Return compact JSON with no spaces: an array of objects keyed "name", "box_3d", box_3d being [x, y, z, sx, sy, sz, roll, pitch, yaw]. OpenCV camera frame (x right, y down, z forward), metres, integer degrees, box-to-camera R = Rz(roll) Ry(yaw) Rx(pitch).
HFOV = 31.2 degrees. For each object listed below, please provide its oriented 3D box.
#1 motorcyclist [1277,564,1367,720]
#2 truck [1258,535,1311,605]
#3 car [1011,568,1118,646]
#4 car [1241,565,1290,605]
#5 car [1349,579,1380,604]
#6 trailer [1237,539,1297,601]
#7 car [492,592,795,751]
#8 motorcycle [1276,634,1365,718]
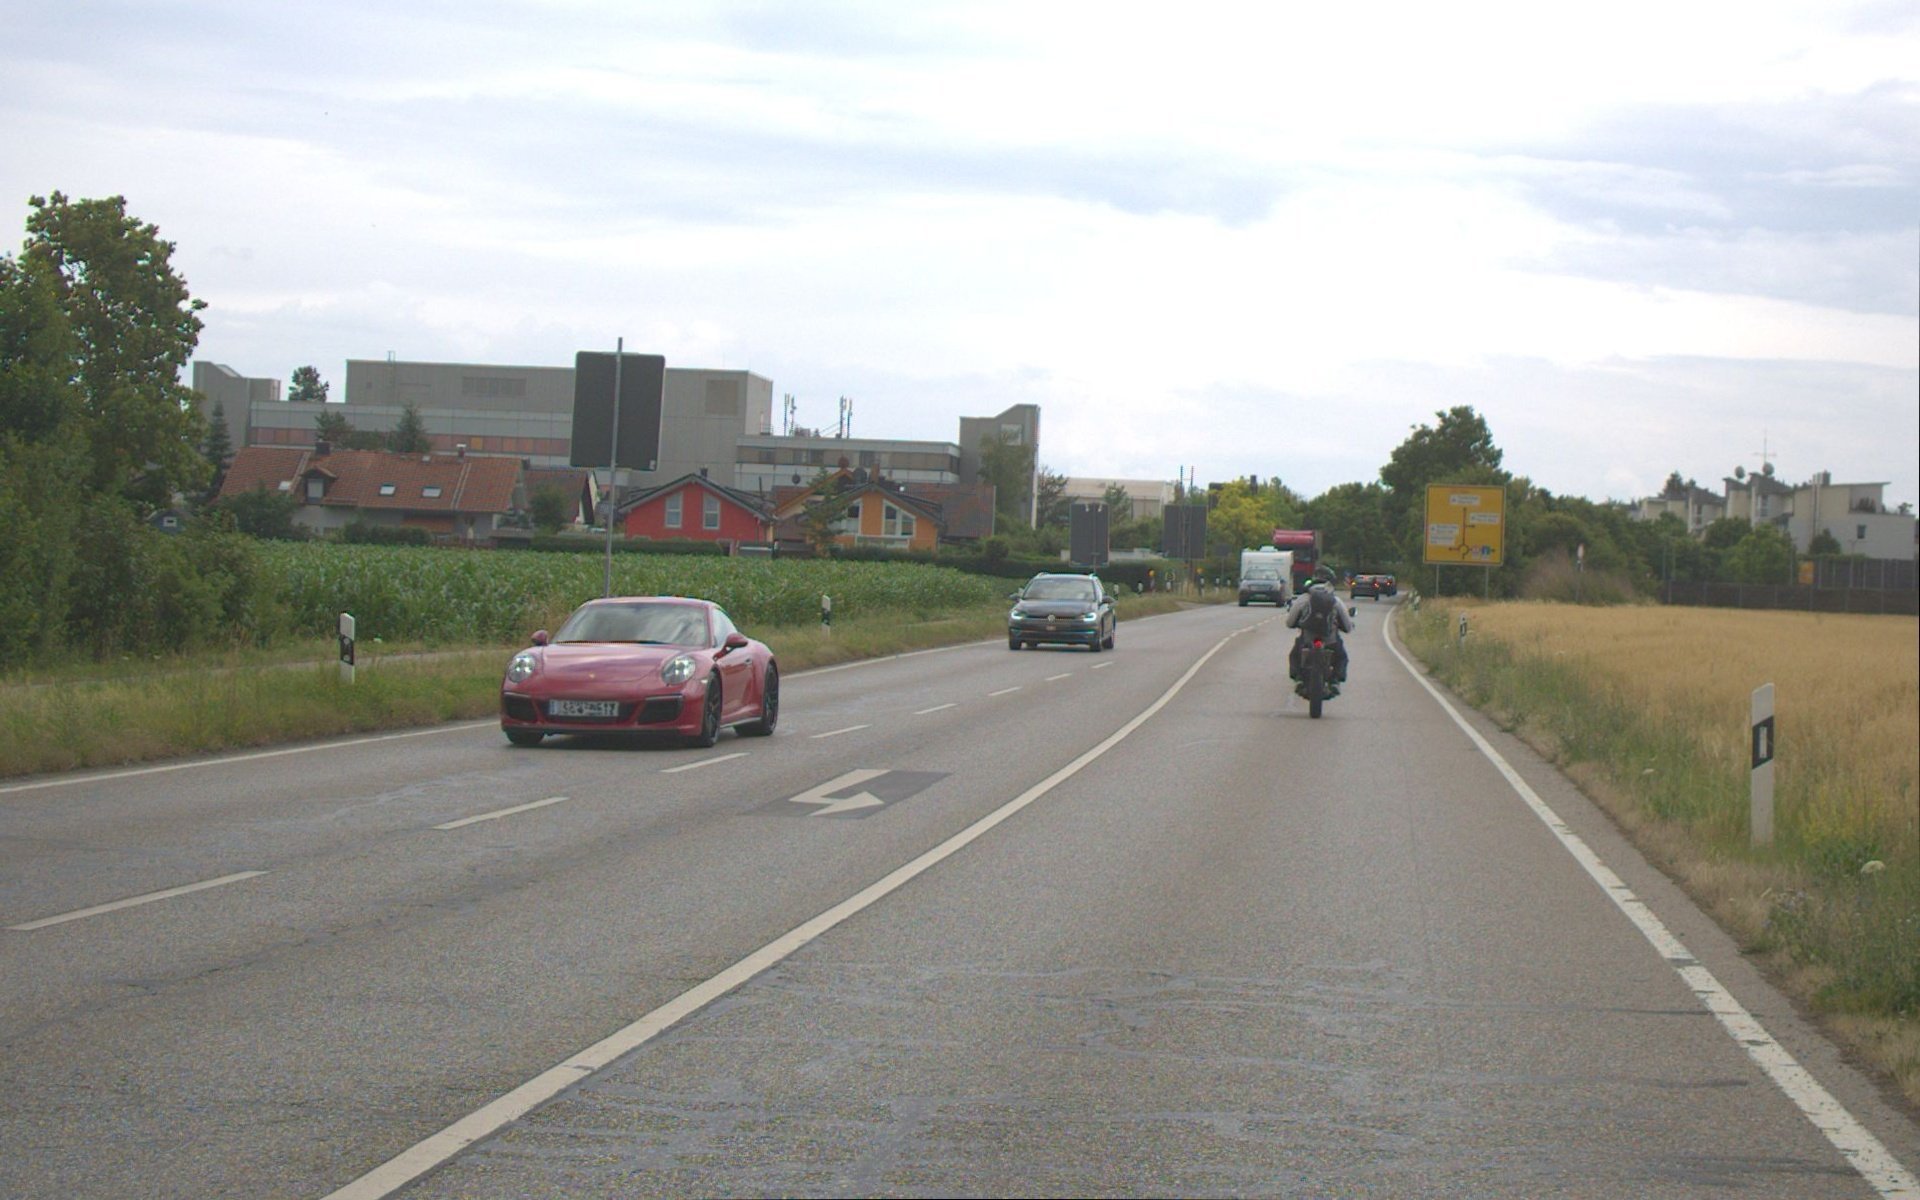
[{"name":"motorcyclist","box_3d":[4.214,0.479,39.966,0.941,1.744,1.200,2,0,7]},{"name":"truck","box_3d":[19.074,-1.736,201.850,2.730,3.974,6.814,2,0,8]},{"name":"car","box_3d":[2.040,0.118,66.296,1.669,1.424,4.302,1,0,7]},{"name":"car","box_3d":[13.733,-0.667,154.361,1.994,1.693,4.674,2,1,7]},{"name":"car","box_3d":[25.369,-0.525,215.400,1.855,1.467,3.999,2,0,7]},{"name":"trailer","box_3d":[14.328,-1.375,160.153,2.325,2.720,7.840,2,1,8]},{"name":"car","box_3d":[-2.743,0.586,30.765,1.772,1.237,4.210,2,1,8]},{"name":"motorcycle","box_3d":[4.205,0.868,39.978,0.941,0.887,2.145,2,0,7]}]
